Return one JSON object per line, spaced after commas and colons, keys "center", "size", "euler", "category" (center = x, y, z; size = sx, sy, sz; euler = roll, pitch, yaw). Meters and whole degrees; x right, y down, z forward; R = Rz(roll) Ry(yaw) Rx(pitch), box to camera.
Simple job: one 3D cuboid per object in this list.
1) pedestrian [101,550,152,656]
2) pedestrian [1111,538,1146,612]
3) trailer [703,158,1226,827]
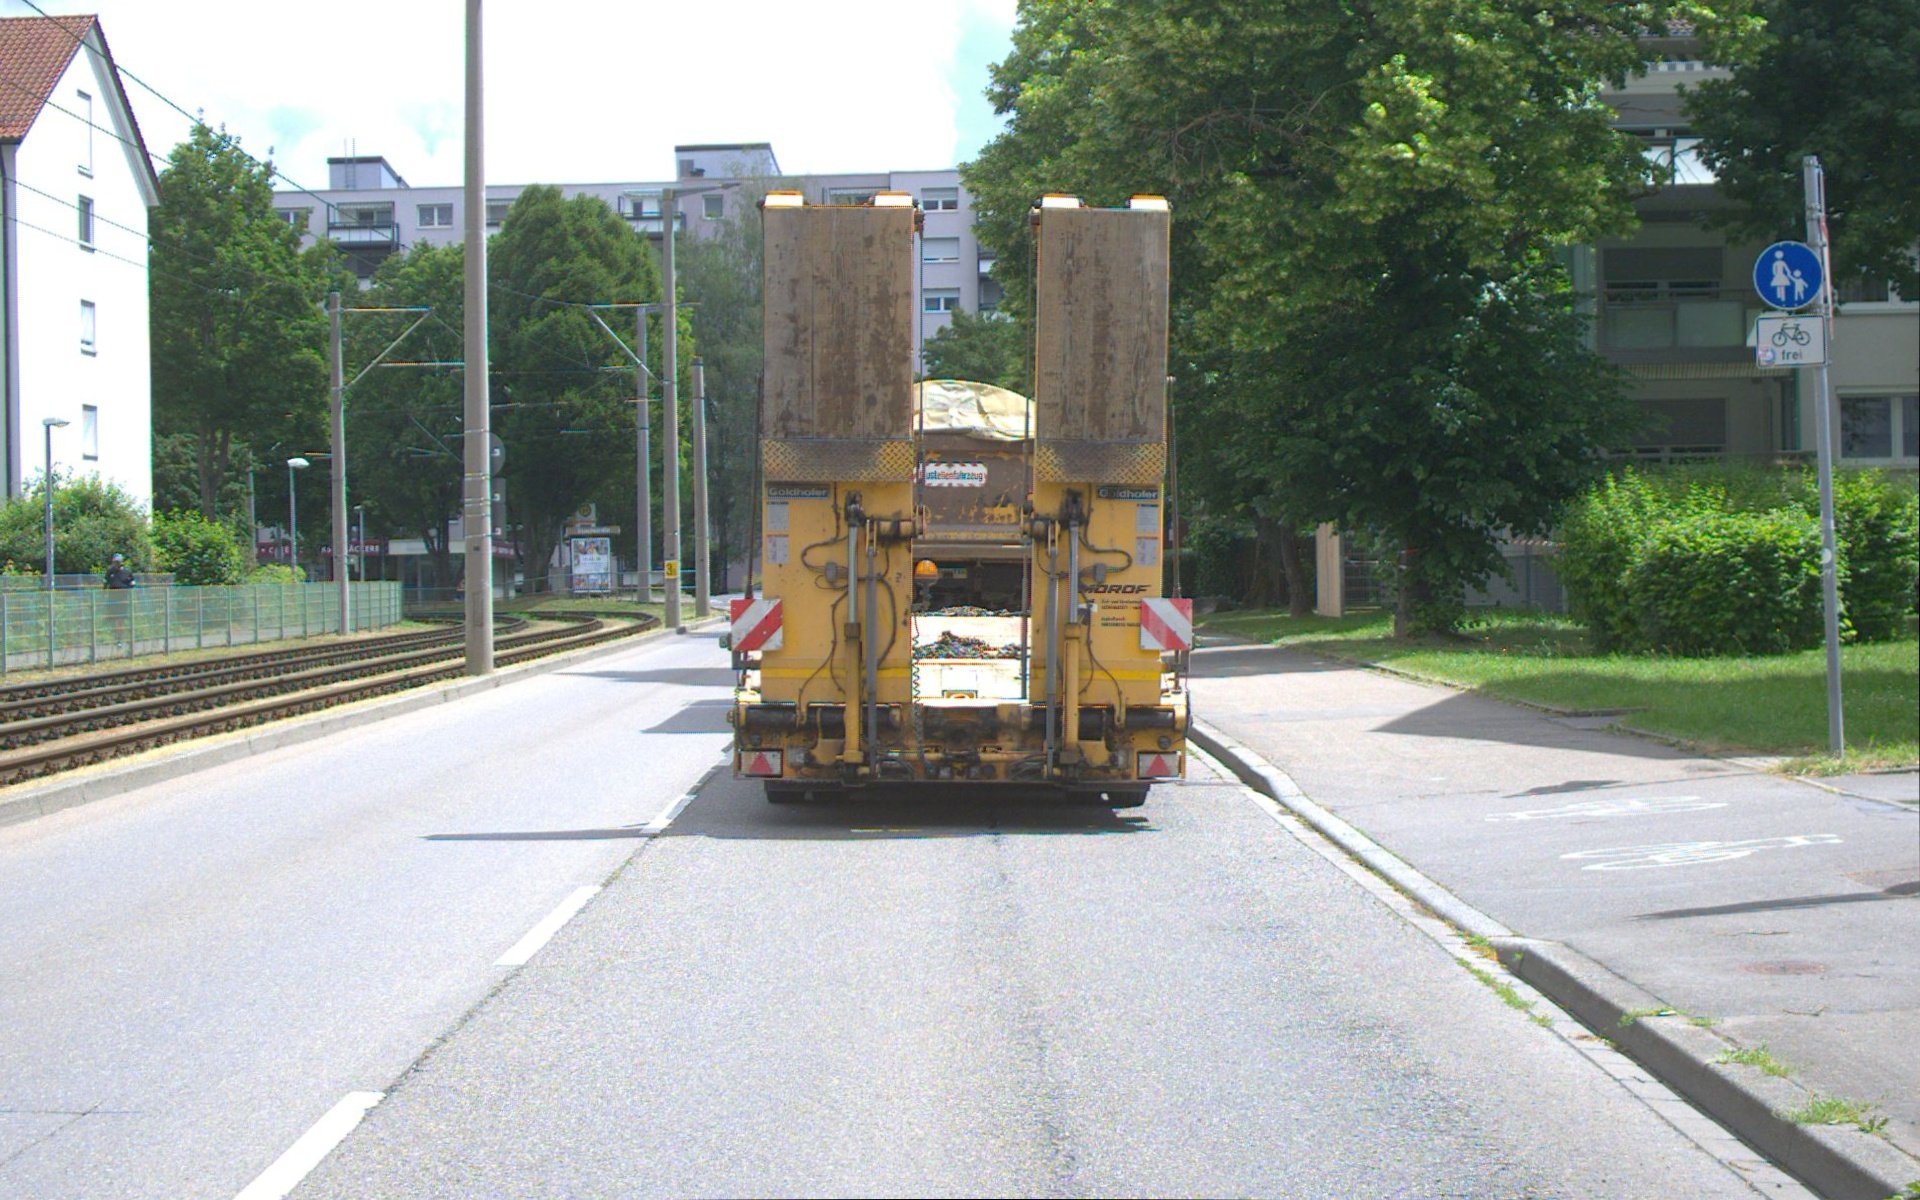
{"center": [-14.807, 0.045, 61.109], "size": [0.659, 1.842, 0.768], "euler": [-2, 1, 0], "category": "pedestrian"}
{"center": [3.937, -0.592, 80.463], "size": [0.718, 1.700, 0.766], "euler": [-2, 1, 0], "category": "pedestrian"}
{"center": [-0.180, -0.665, 25.074], "size": [2.827, 3.633, 12.355], "euler": [1, 1, -2], "category": "trailer"}
